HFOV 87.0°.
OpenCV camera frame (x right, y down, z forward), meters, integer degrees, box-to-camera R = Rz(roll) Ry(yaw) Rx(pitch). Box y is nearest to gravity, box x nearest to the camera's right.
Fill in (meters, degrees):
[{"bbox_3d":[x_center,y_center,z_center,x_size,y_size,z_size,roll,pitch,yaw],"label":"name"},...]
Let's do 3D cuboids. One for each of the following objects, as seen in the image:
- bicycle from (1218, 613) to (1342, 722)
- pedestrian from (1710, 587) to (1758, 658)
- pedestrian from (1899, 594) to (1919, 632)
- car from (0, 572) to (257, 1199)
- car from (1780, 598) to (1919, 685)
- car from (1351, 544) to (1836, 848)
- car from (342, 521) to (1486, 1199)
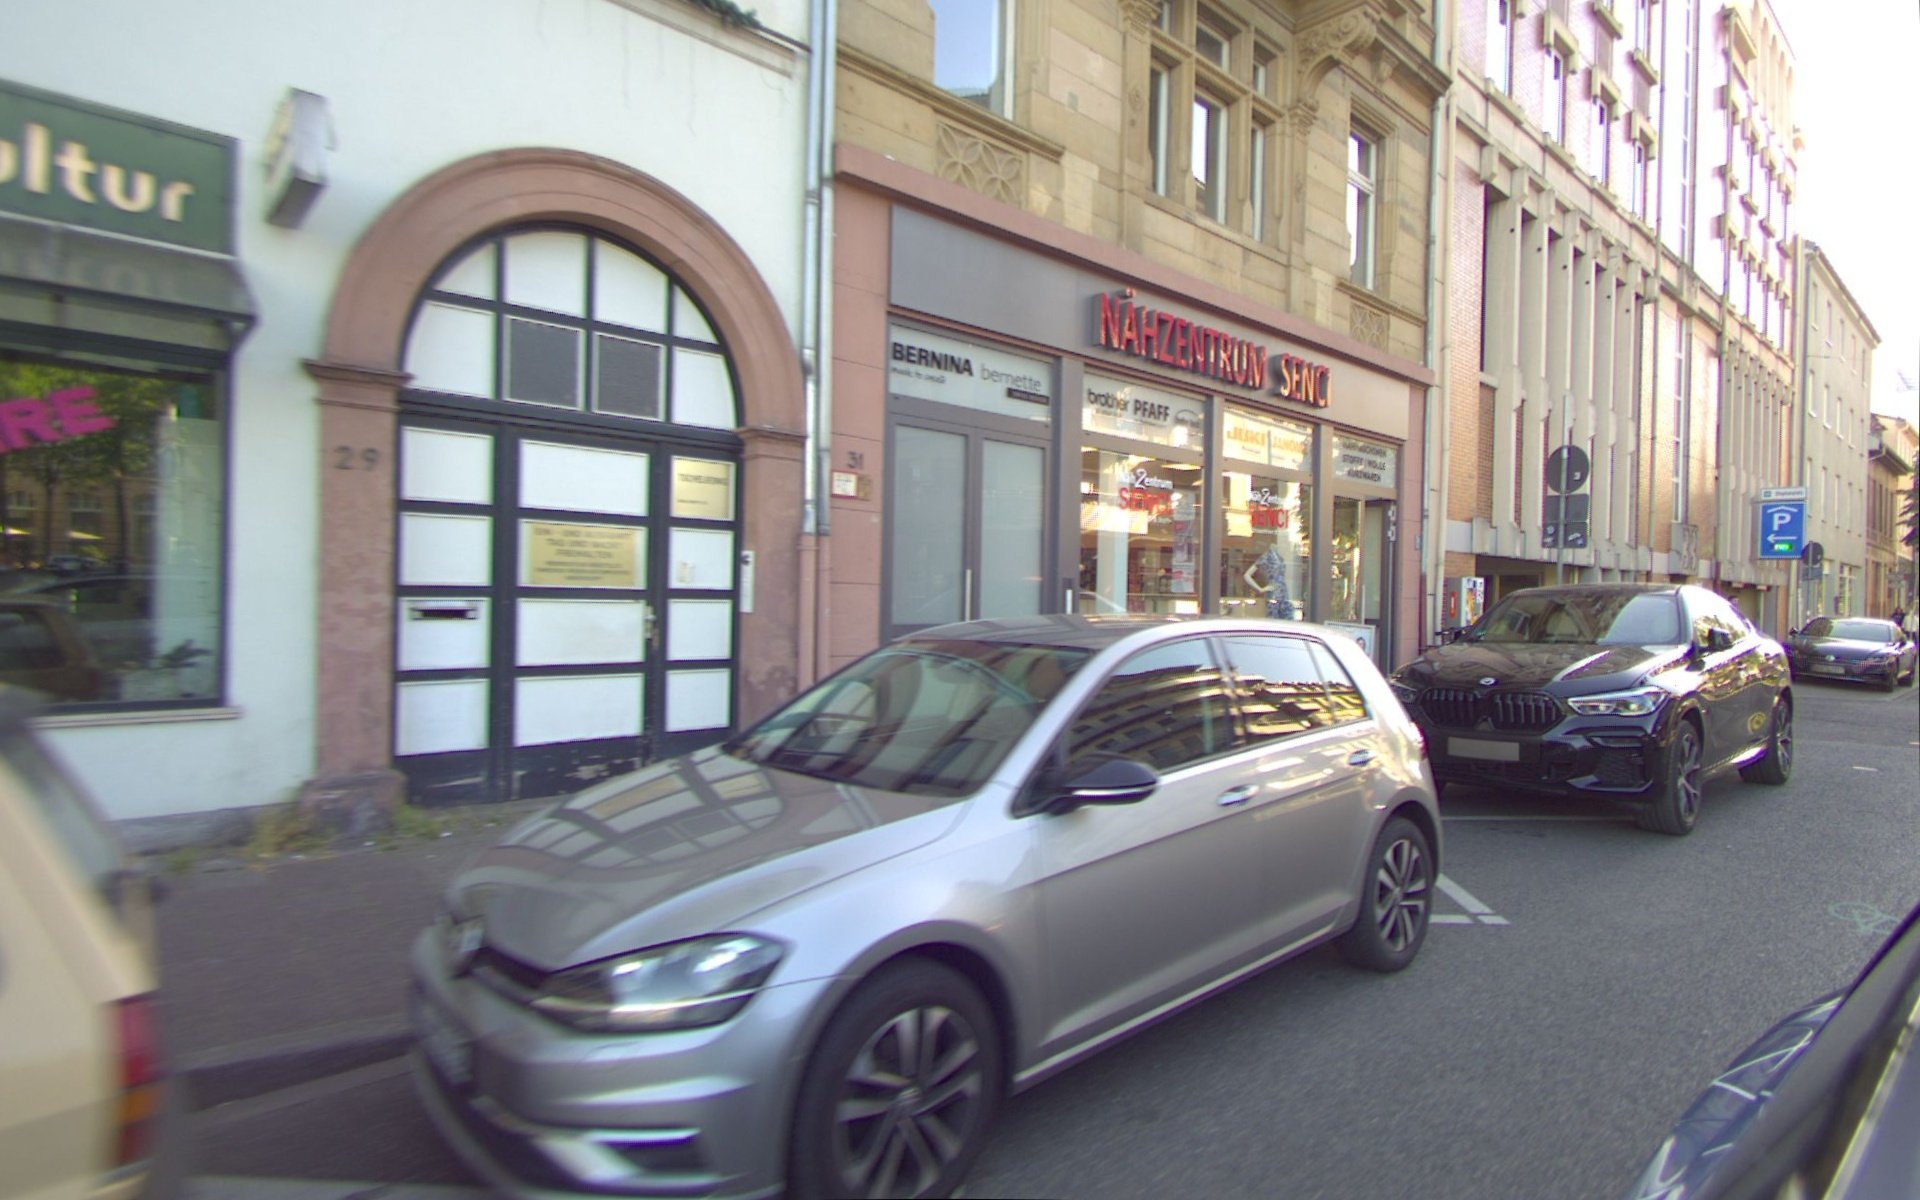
[{"bbox_3d":[3.600,0.715,11.298,1.908,1.098,0.358,0,3,-42],"label":"bicycle"},{"bbox_3d":[18.884,0.535,24.695,0.874,1.655,0.693,1,3,-42],"label":"pedestrian"},{"bbox_3d":[46.044,0.643,49.043,0.757,1.786,0.624,1,3,-40],"label":"pedestrian"},{"bbox_3d":[-3.000,0.681,0.881,3.763,1.468,1.611,1,-1,-41],"label":"car"},{"bbox_3d":[19.259,0.803,21.546,4.878,1.496,1.922,1,5,-41],"label":"car"},{"bbox_3d":[5.266,0.575,8.126,4.738,1.747,1.977,1,-1,-40],"label":"car"},{"bbox_3d":[0.205,0.633,3.849,4.111,1.506,1.842,1,-1,-41],"label":"car"}]
